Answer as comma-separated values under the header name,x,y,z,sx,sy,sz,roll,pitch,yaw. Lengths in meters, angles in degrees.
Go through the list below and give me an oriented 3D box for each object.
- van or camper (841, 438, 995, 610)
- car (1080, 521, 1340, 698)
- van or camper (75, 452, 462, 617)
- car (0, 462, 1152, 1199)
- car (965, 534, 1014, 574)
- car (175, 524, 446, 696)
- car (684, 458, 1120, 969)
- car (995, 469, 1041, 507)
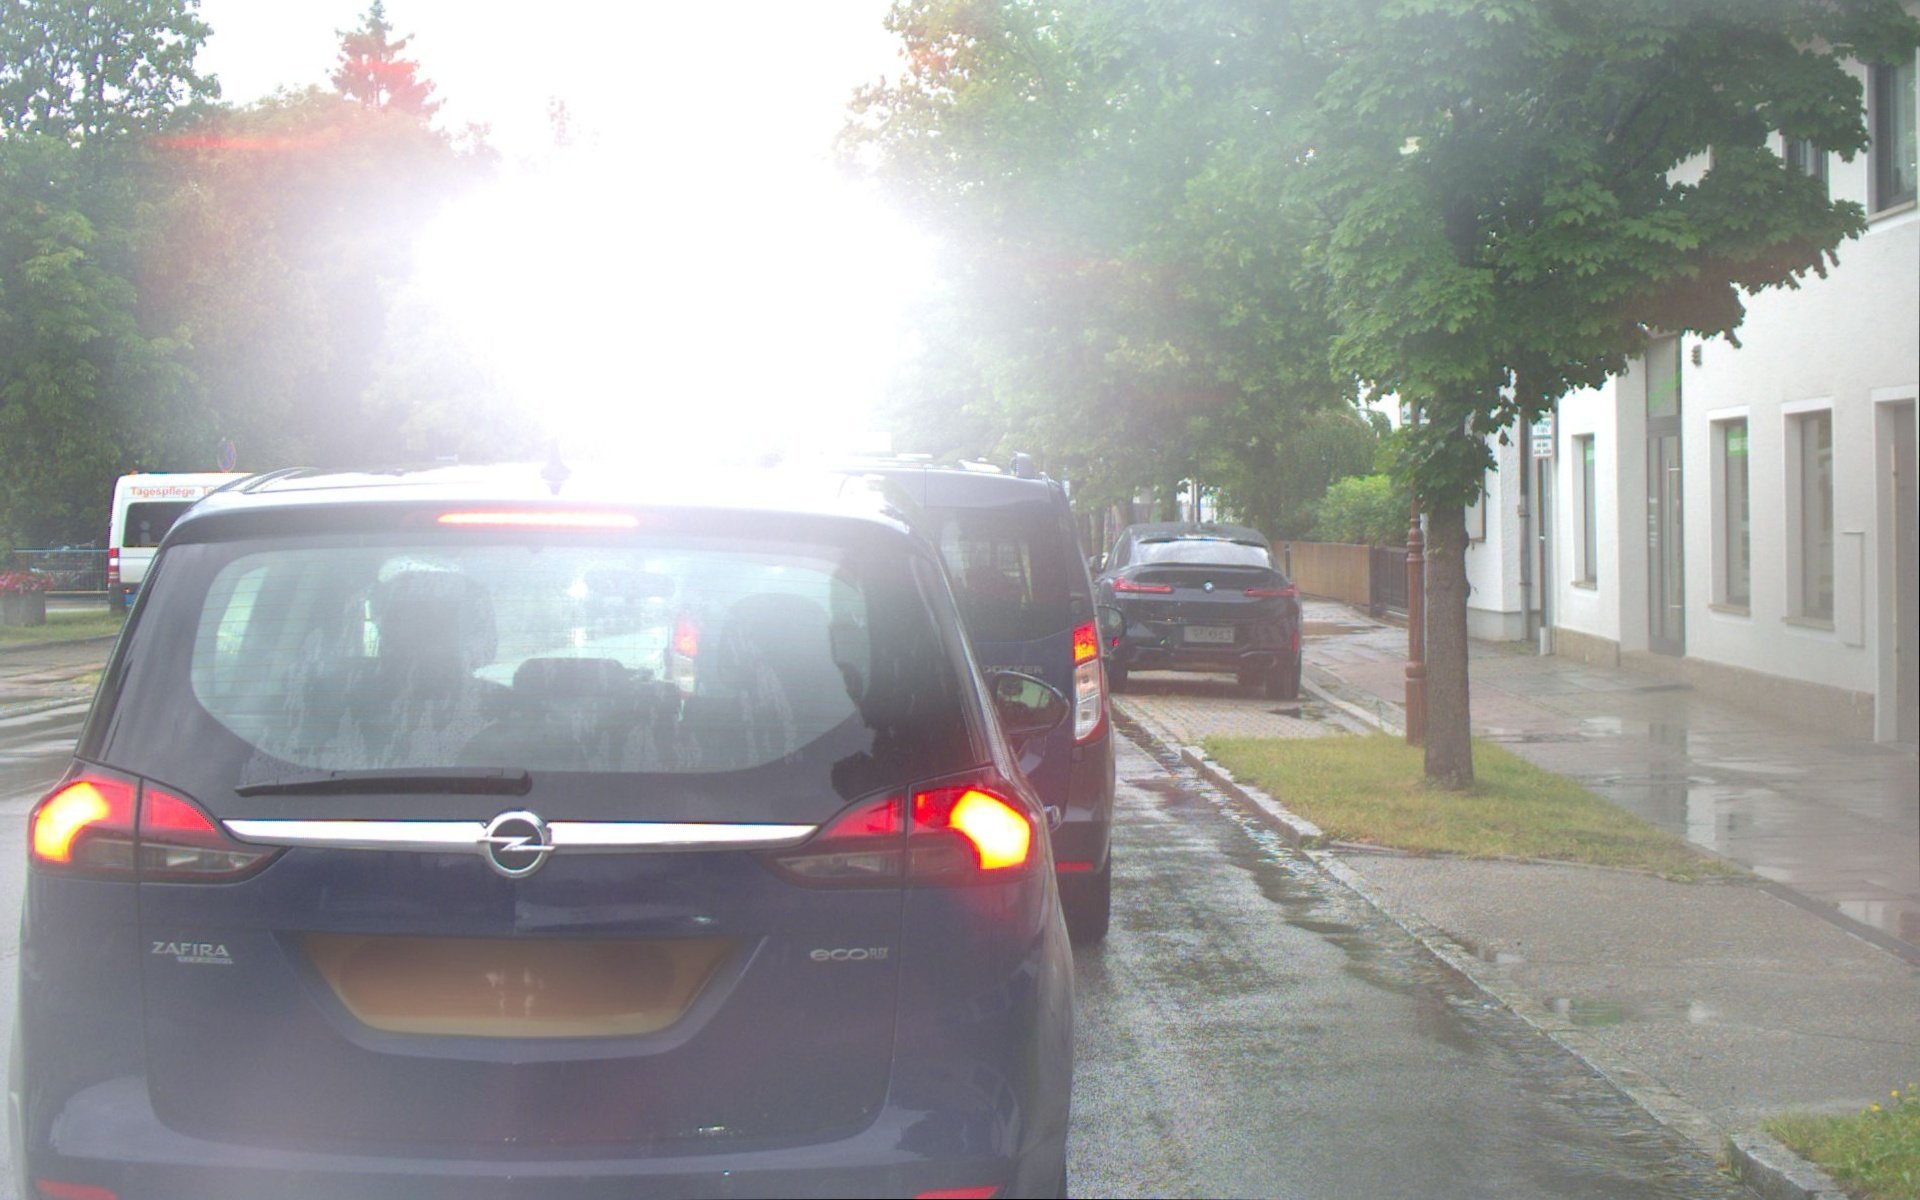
name,x,y,z,sx,sy,sz,roll,pitch,yaw
van or camper,-0.682,-1.240,56.147,2.360,2.656,5.372,-1,1,-1
car,2.350,0.053,33.368,2.117,1.575,3.936,1,1,-1
van or camper,-11.700,-1.123,58.550,6.247,2.698,2.101,-1,1,-5
car,-0.626,0.562,6.978,1.768,1.599,3.663,0,1,-1
car,1.044,-1.617,122.012,1.630,1.373,3.623,1,1,-1
car,-6.206,0.047,33.279,1.752,1.506,4.230,-2,1,0
car,-0.224,0.366,13.608,1.500,1.770,3.112,1,1,-1
car,2.209,-4.268,131.561,1.630,1.373,3.623,-1,1,-1
